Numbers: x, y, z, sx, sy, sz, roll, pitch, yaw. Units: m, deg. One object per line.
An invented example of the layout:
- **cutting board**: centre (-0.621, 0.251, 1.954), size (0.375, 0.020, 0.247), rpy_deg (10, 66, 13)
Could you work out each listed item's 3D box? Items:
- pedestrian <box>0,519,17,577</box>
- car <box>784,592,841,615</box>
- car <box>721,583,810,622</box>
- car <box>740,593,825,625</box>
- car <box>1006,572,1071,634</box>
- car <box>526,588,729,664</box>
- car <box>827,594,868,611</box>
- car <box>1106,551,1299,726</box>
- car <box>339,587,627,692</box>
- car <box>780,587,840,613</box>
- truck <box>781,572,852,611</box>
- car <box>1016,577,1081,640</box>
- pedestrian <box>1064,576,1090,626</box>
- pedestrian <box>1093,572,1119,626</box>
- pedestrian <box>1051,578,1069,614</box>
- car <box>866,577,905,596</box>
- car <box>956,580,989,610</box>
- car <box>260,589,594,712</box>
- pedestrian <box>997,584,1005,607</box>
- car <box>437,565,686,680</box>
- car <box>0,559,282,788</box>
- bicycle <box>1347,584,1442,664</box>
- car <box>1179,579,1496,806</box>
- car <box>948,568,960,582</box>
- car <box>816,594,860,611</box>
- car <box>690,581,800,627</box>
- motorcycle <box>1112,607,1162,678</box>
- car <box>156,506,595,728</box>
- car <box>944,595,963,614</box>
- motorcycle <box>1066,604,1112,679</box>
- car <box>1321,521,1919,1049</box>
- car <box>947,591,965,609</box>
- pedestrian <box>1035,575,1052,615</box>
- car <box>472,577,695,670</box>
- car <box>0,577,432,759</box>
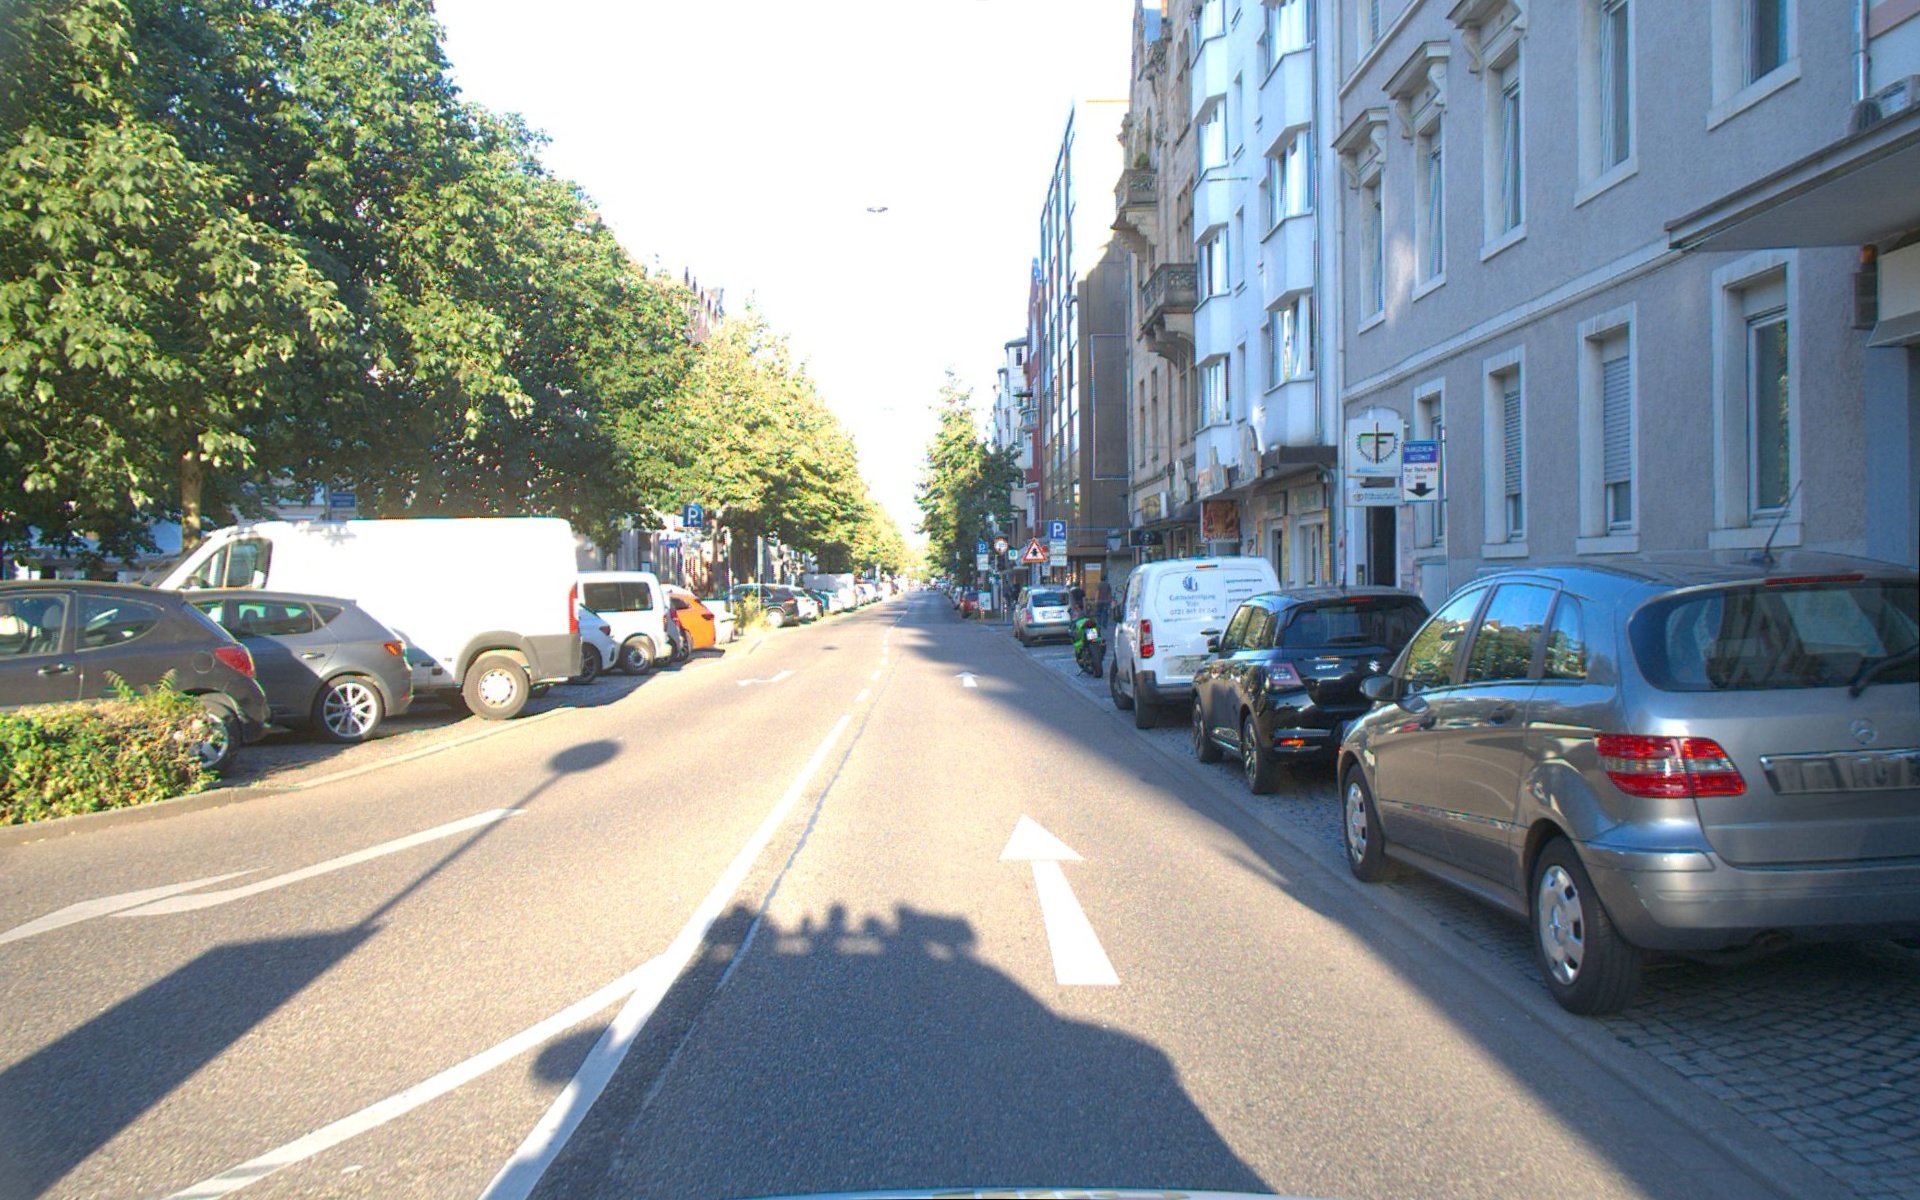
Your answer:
- **pedestrian**: centre (-20.987, -1.132, 36.032), size (0.522, 1.237, 0.527), rpy_deg (-2, 1, 6)
- **car**: centre (-9.715, 0.218, 109.082), size (3.664, 1.475, 1.999), rpy_deg (0, 0, -2)
- **car**: centre (-8.911, 0.109, 76.074), size (3.909, 1.738, 1.832), rpy_deg (0, 1, -2)
- **car**: centre (-8.952, 0.446, 83.710), size (4.091, 1.533, 1.999), rpy_deg (0, 0, -2)
- **car**: centre (2.388, 0.053, 50.956), size (1.662, 1.800, 3.999), rpy_deg (-1, 1, -2)
- **car**: centre (-7.275, 0.529, 36.226), size (3.946, 1.511, 1.980), rpy_deg (-1, 1, -31)
- **car**: centre (-10.083, 0.218, 148.453), size (3.664, 1.519, 1.999), rpy_deg (0, 0, -2)
- **car**: centre (2.785, 0.370, 19.861), size (1.675, 1.867, 4.306), rpy_deg (0, 1, 0)
- **car**: centre (-7.432, 0.568, 25.928), size (3.962, 1.518, 1.824), rpy_deg (0, 0, -40)
- **car**: centre (-9.405, -0.001, 103.937), size (3.664, 1.624, 1.999), rpy_deg (0, 0, -2)
- **truck**: centre (-9.980, -0.601, 115.343), size (4.841, 2.661, 1.999), rpy_deg (0, 0, -2)
- **car**: centre (2.428, 0.207, 46.132), size (1.646, 1.588, 4.001), rpy_deg (-2, 1, 1)
- **pedestrian**: centre (4.004, 0.024, 56.538), size (0.740, 1.669, 1.259), rpy_deg (0, 1, -2)
- **pedestrian**: centre (4.963, -0.039, 56.301), size (0.740, 1.798, 1.222), rpy_deg (0, 1, -2)
- **pedestrian**: centre (4.811, -0.198, 79.685), size (0.750, 1.718, 0.785), rpy_deg (-2, 1, -4)
- **car**: centre (-7.002, -1.280, 155.363), size (3.664, 1.738, 2.000), rpy_deg (0, 1, -2)
- **car**: centre (0.690, -0.289, 92.961), size (1.545, 1.569, 3.394), rpy_deg (-3, 0, -4)
- **car**: centre (-7.215, 0.610, 22.597), size (3.968, 1.493, 1.853), rpy_deg (-1, 1, -43)
- **pedestrian**: centre (3.002, -0.330, 121.311), size (0.523, 1.650, 0.534), rpy_deg (0, 1, -1)
- **car**: centre (-7.075, 0.352, 29.497), size (3.958, 1.911, 1.846), rpy_deg (0, 1, -37)
- **car**: centre (-7.279, 0.507, 12.312), size (3.841, 1.610, 1.780), rpy_deg (0, 0, -36)
- **bicycle**: centre (5.796, 0.313, 22.146), size (0.447, 1.029, 1.706), rpy_deg (0, -1, -15)
- **car**: centre (2.920, 0.632, 13.584), size (1.633, 1.571, 3.882), rpy_deg (0, 1, -1)
- **car**: centre (-0.688, -2.941, 195.482), size (1.283, 1.628, 2.659), rpy_deg (0, 0, -4)
- **car**: centre (-10.560, 0.239, 143.552), size (3.664, 1.475, 1.999), rpy_deg (0, 0, -2)
- **car**: centre (-8.928, 0.153, 68.946), size (4.359, 1.867, 2.033), rpy_deg (0, 1, -2)
- **motorcycle**: centre (3.075, 0.713, 28.836), size (0.576, 1.143, 2.210), rpy_deg (0, 1, -1)
- **car**: centre (-6.746, 0.172, 19.145), size (4.546, 2.290, 2.183), rpy_deg (0, 0, -28)
- **car**: centre (-0.466, 0.343, 118.167), size (1.182, 1.323, 2.659), rpy_deg (0, 0, -4)
- **motorcycle**: centre (2.268, 0.713, 29.256), size (0.576, 1.221, 2.210), rpy_deg (0, 1, -1)
- **car**: centre (2.927, 0.567, 7.380), size (1.623, 1.694, 4.107), rpy_deg (0, 1, -2)
- **car**: centre (-0.292, -0.022, 124.958), size (1.182, 1.323, 2.659), rpy_deg (0, 0, -4)
- **pedestrian**: centre (4.016, -0.250, 79.685), size (0.700, 1.898, 0.679), rpy_deg (-2, 1, -4)
- **car**: centre (-7.408, 0.444, 32.666), size (3.957, 1.725, 1.727), rpy_deg (0, 0, -37)
- **car**: centre (-7.252, 0.542, 15.617), size (3.964, 1.512, 1.806), rpy_deg (-1, 1, -41)
